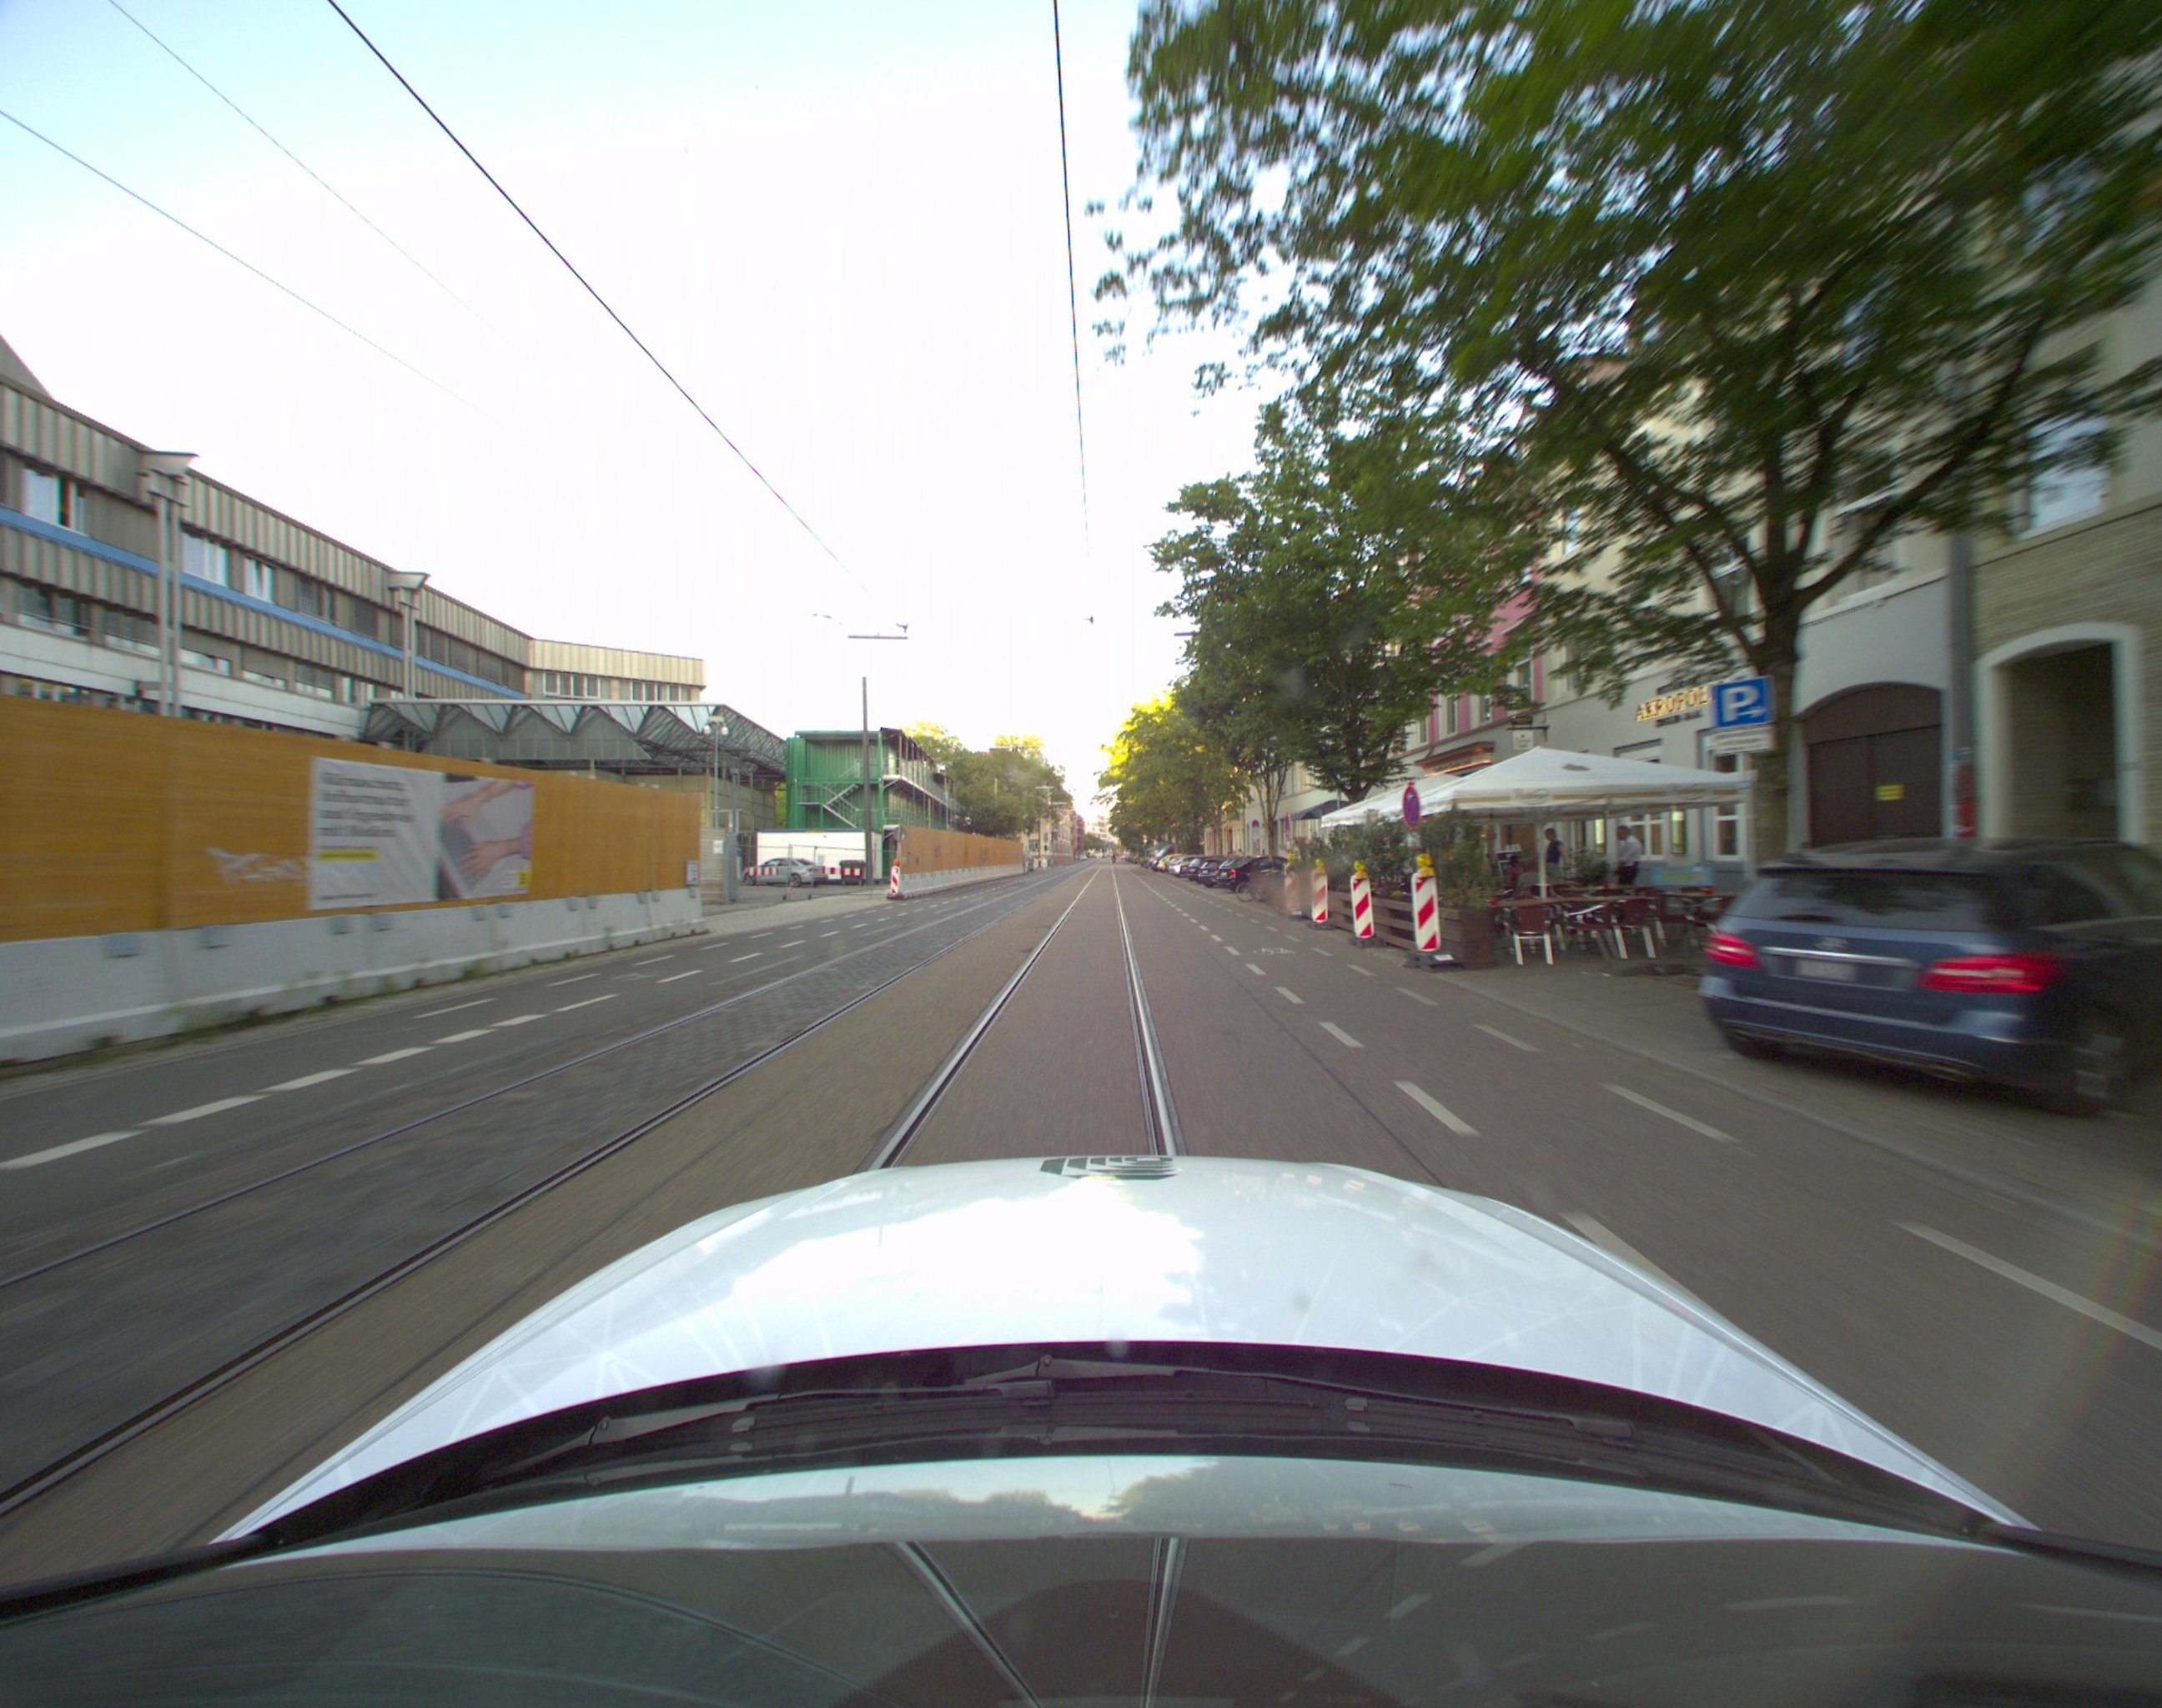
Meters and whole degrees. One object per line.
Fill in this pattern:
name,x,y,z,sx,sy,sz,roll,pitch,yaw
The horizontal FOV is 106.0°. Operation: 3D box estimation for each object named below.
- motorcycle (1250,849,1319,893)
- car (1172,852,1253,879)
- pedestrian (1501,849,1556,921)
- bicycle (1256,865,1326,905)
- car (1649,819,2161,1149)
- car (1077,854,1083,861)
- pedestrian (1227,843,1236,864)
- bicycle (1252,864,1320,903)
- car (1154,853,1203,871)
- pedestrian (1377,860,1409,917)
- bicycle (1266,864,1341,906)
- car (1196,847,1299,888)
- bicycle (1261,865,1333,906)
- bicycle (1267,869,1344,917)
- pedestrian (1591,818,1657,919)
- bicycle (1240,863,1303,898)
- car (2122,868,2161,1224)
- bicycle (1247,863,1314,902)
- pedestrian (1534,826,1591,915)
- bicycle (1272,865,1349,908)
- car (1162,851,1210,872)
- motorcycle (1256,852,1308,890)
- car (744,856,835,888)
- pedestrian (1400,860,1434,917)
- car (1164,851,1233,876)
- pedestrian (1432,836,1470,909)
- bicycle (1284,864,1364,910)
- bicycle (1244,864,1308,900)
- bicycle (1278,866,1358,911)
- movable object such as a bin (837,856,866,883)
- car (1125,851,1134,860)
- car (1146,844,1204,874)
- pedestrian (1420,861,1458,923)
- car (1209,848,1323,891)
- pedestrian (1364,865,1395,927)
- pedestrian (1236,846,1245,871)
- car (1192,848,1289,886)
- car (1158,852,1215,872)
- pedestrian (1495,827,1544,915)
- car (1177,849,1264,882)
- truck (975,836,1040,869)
motorcycle,7.370,0.601,29.548,2.215,1.461,0.967,-3,0,0
car,7.792,0.659,48.274,4.267,1.392,2.001,-2,0,-22
pedestrian,8.287,0.561,15.089,0.553,1.306,0.709,0,0,-25
bicycle,6.255,0.914,24.350,1.880,1.031,0.608,-4,0,0
car,6.099,0.617,5.638,3.979,1.553,1.692,-3,0,-24
car,-0.286,1.037,251.104,1.890,2.178,4.002,0,0,2
pedestrian,11.224,-0.019,60.887,0.535,1.568,0.814,-1,0,4
bicycle,6.299,0.891,25.048,1.880,1.031,0.608,-4,0,0
car,8.816,0.723,73.653,3.966,1.486,1.906,-2,-1,-22
pedestrian,7.266,0.796,18.992,0.501,1.292,0.599,0,0,-3
bicycle,6.254,0.868,22.901,1.880,1.031,0.608,-4,0,0
car,7.365,0.590,36.233,3.955,1.470,1.991,-4,0,-15
bicycle,6.242,0.911,23.599,1.880,1.031,0.608,-4,0,0
bicycle,5.485,0.949,19.962,1.673,1.031,0.557,-4,0,0
pedestrian,9.767,0.247,14.667,0.705,1.763,0.709,0,0,-23
bicycle,6.327,0.877,27.042,1.897,1.031,0.533,-4,0,0
car,6.304,0.669,3.089,3.783,1.408,1.695,-3,0,-18
bicycle,6.285,0.884,25.723,1.880,1.067,0.674,-4,0,0
pedestrian,9.802,0.322,16.595,0.551,1.763,0.849,0,0,-12
bicycle,6.258,0.877,22.257,1.880,1.031,0.608,-4,0,0
car,8.984,0.654,69.971,3.935,1.619,1.922,-3,-1,2
motorcycle,7.581,0.633,30.803,1.780,1.343,0.533,-3,0,0
car,-14.508,0.869,40.586,3.964,1.402,1.743,1,0,16
pedestrian,7.868,0.801,19.083,0.501,1.292,0.599,-1,0,-4
car,8.113,0.646,56.403,4.249,1.549,2.013,-2,0,-9
pedestrian,9.166,0.443,20.187,0.548,1.763,0.894,0,0,2
bicycle,6.193,0.829,20.786,1.809,1.031,0.608,-4,0,0
bicycle,6.312,0.907,26.412,1.857,1.031,0.591,-4,0,-1
bicycle,6.248,0.909,21.541,1.880,1.031,0.608,-4,0,0
movable object such as a bin,-12.002,0.804,42.605,1.302,1.369,0.784,-1,0,-2
car,10.625,0.322,178.122,1.715,2.014,4.002,0,0,2
car,9.026,0.459,78.322,5.104,2.642,2.011,-3,-1,-15
pedestrian,7.623,0.794,17.365,0.595,1.292,0.504,0,0,3
car,7.607,0.625,33.572,4.172,1.426,1.813,-4,0,-17
pedestrian,6.389,0.892,17.444,0.499,1.292,0.601,-1,0,7
pedestrian,11.880,0.330,60.652,0.563,1.814,0.607,-1,-1,4
car,7.577,0.609,38.790,4.126,1.470,1.813,-4,0,-17
car,8.609,0.685,66.523,4.140,1.425,1.906,-2,-1,-24
pedestrian,8.941,0.335,16.619,0.552,1.763,0.711,0,0,-15
car,7.499,0.614,43.888,4.134,1.470,2.000,-4,0,-23
truck,-8.287,-0.184,92.051,7.038,3.480,2.540,1,0,-2
